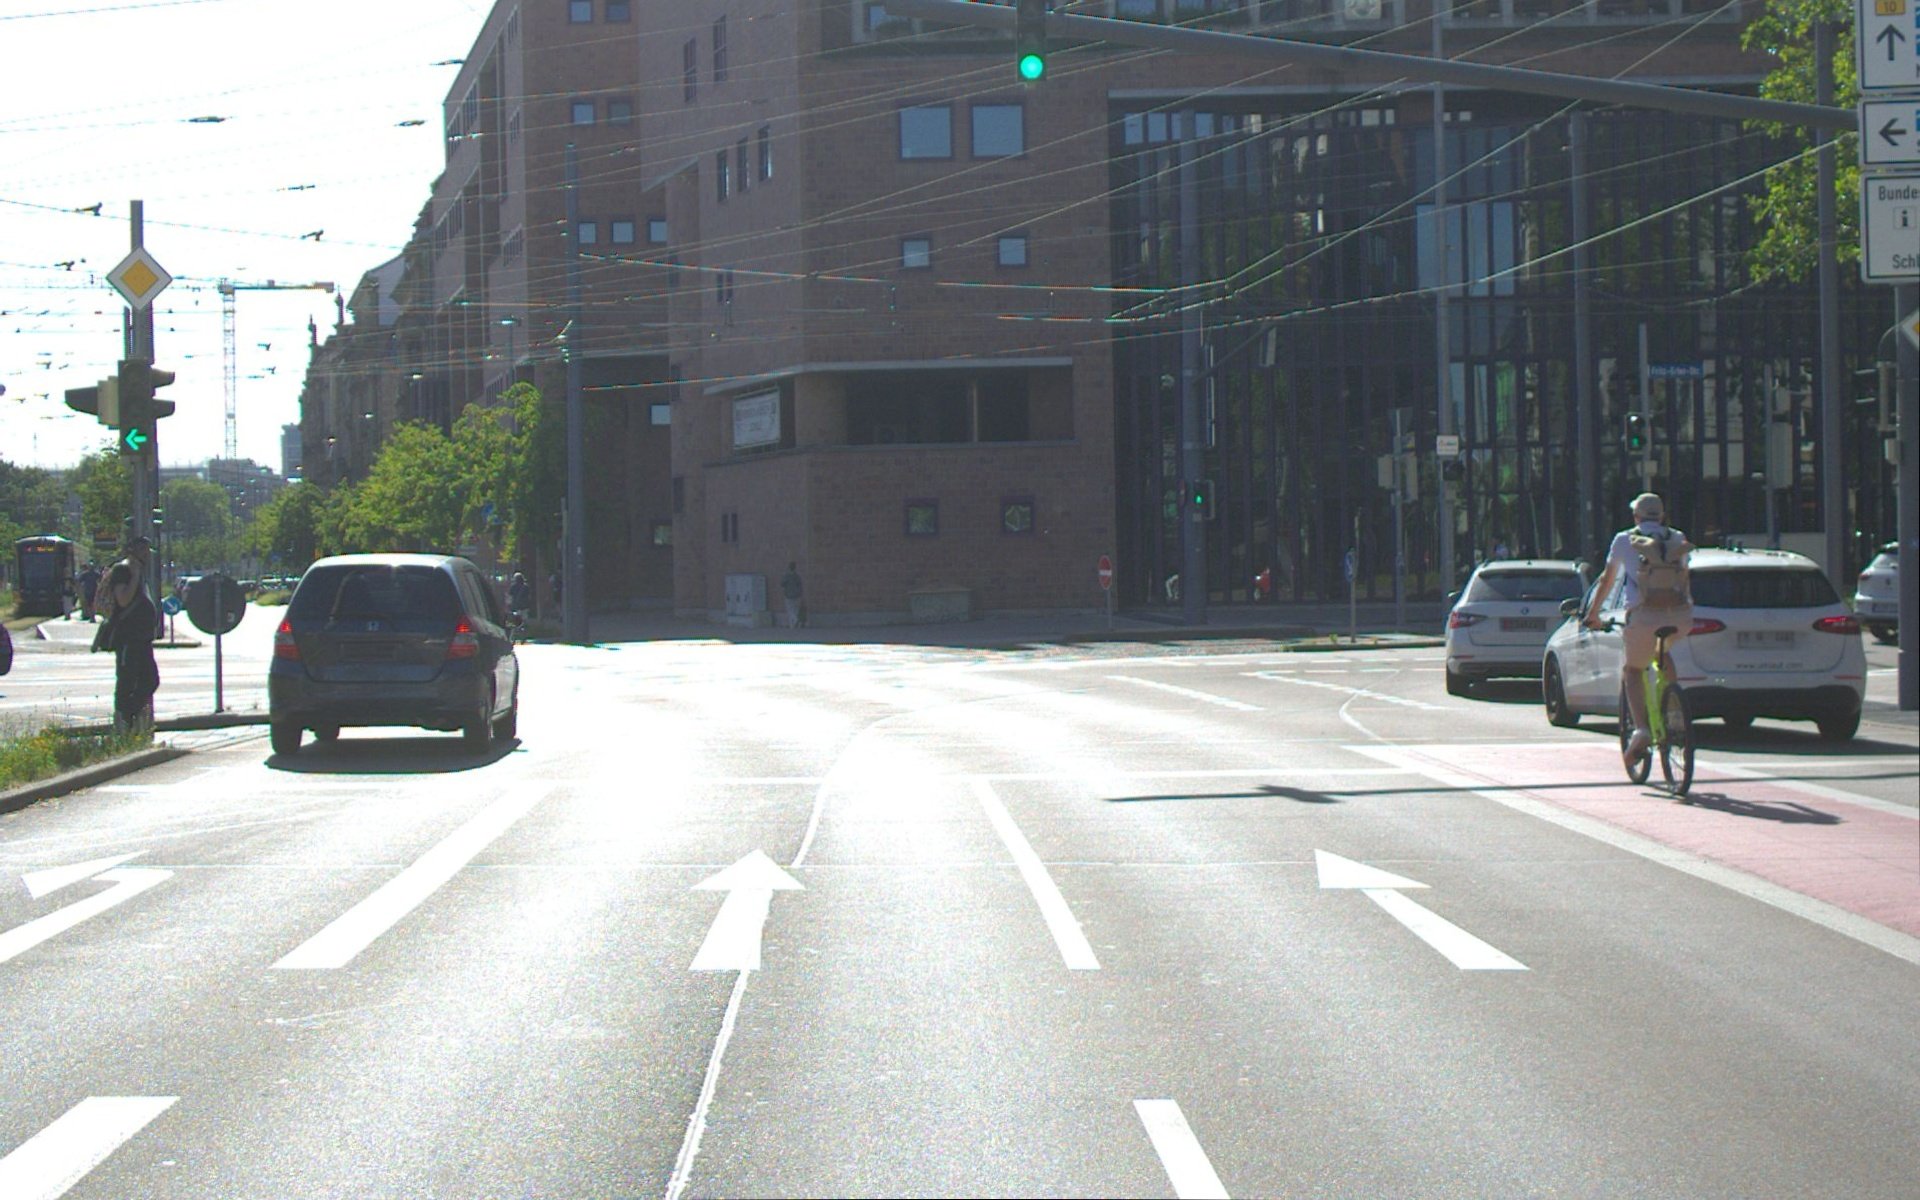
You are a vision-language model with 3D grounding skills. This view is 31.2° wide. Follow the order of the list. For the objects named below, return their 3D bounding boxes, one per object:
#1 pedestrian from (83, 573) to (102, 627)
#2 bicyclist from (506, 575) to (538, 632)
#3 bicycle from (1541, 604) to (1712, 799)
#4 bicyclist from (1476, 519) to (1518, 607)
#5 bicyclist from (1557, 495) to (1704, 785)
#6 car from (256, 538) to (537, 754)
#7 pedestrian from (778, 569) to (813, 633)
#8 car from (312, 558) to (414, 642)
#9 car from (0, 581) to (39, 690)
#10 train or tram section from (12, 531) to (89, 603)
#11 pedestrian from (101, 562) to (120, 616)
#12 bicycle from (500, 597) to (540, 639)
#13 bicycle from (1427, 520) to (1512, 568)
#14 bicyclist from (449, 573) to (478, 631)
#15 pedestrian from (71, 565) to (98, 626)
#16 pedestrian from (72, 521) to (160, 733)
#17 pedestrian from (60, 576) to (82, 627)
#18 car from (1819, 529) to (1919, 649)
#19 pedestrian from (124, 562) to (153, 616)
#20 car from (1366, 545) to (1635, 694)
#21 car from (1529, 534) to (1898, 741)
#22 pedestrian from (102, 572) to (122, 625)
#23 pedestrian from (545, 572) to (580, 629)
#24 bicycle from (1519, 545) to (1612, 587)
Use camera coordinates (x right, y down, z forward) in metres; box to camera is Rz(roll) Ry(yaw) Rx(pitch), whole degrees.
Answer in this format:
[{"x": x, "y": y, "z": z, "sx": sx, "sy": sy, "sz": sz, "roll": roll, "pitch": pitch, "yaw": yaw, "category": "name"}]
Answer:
[{"x": -26.789, "y": -0.015, "z": 106.195, "sx": 0.510, "sy": 1.649, "sz": 0.762, "roll": -1, "pitch": 0, "yaw": -16, "category": "pedestrian"}, {"x": -10.329, "y": 0.085, "z": 81.061, "sx": 0.592, "sy": 1.331, "sz": 0.933, "roll": -1, "pitch": 0, "yaw": -16, "category": "bicyclist"}, {"x": 4.161, "y": 0.612, "z": 21.567, "sx": 0.649, "sy": 1.106, "sz": 1.758, "roll": -1, "pitch": 2, "yaw": -2, "category": "bicycle"}, {"x": 11.560, "y": -0.792, "z": 73.970, "sx": 0.605, "sy": 1.877, "sz": 0.651, "roll": -1, "pitch": 0, "yaw": -23, "category": "bicyclist"}, {"x": 4.159, "y": 0.226, "z": 21.379, "sx": 0.649, "sy": 1.746, "sz": 1.045, "roll": -1, "pitch": 1, "yaw": -3, "category": "bicyclist"}, {"x": -4.383, "y": 0.318, "z": 27.199, "sx": 1.726, "sy": 1.558, "sz": 3.678, "roll": -1, "pitch": 1, "yaw": -2, "category": "car"}, {"x": -4.064, "y": 0.033, "z": 84.778, "sx": 0.617, "sy": 1.558, "sz": 0.987, "roll": -1, "pitch": 0, "yaw": -16, "category": "pedestrian"}, {"x": -14.345, "y": -0.010, "z": 82.489, "sx": 1.993, "sy": 1.941, "sz": 4.001, "roll": -1, "pitch": 0, "yaw": -16, "category": "car"}, {"x": -14.940, "y": 0.512, "z": 46.886, "sx": 4.512, "sy": 1.444, "sz": 1.730, "roll": -1, "pitch": 1, "yaw": 25, "category": "car"}, {"x": -40.021, "y": -1.470, "z": 151.557, "sx": 2.326, "sy": 2.993, "sz": 13.163, "roll": -1, "pitch": 1, "yaw": -11, "category": "train or tram section"}, {"x": -26.290, "y": -0.348, "z": 106.385, "sx": 0.538, "sy": 1.649, "sz": 0.707, "roll": -1, "pitch": 0, "yaw": -16, "category": "pedestrian"}, {"x": -10.440, "y": 0.423, "z": 81.460, "sx": 0.603, "sy": 0.982, "sz": 2.315, "roll": -1, "pitch": 0, "yaw": -16, "category": "bicycle"}, {"x": 10.951, "y": -1.197, "z": 73.860, "sx": 1.668, "sy": 0.991, "sz": 0.673, "roll": -2, "pitch": 0, "yaw": -22, "category": "bicycle"}, {"x": -13.085, "y": 0.046, "z": 90.571, "sx": 0.667, "sy": 1.521, "sz": 0.707, "roll": -1, "pitch": 0, "yaw": -16, "category": "bicyclist"}, {"x": -24.756, "y": -0.137, "z": 97.199, "sx": 0.614, "sy": 1.663, "sz": 0.864, "roll": -4, "pitch": 2, "yaw": -16, "category": "pedestrian"}, {"x": -7.088, "y": 0.218, "z": 28.871, "sx": 0.669, "sy": 1.747, "sz": 0.769, "roll": -1, "pitch": 1, "yaw": -14, "category": "pedestrian"}, {"x": -27.483, "y": 0.042, "z": 106.297, "sx": 0.600, "sy": 1.561, "sz": 0.914, "roll": -1, "pitch": 0, "yaw": -16, "category": "pedestrian"}, {"x": 14.250, "y": -0.154, "z": 47.829, "sx": 3.986, "sy": 1.578, "sz": 1.913, "roll": 1, "pitch": 2, "yaw": -14, "category": "car"}, {"x": -26.672, "y": -0.364, "z": 111.639, "sx": 0.716, "sy": 1.729, "sz": 0.602, "roll": -1, "pitch": 0, "yaw": -32, "category": "pedestrian"}, {"x": 5.951, "y": 0.175, "z": 38.345, "sx": 1.906, "sy": 1.536, "sz": 4.139, "roll": 1, "pitch": 1, "yaw": -7, "category": "car"}, {"x": 6.172, "y": 0.251, "z": 28.656, "sx": 1.906, "sy": 1.578, "sz": 4.139, "roll": 1, "pitch": 1, "yaw": -4, "category": "car"}, {"x": -26.310, "y": -0.045, "z": 106.631, "sx": 0.538, "sy": 1.649, "sz": 0.896, "roll": -1, "pitch": 0, "yaw": -16, "category": "pedestrian"}, {"x": -12.150, "y": 0.006, "z": 104.997, "sx": 0.879, "sy": 1.711, "sz": 0.931, "roll": -1, "pitch": 0, "yaw": -16, "category": "pedestrian"}, {"x": 12.086, "y": -0.683, "z": 68.622, "sx": 1.668, "sy": 0.803, "sz": 0.673, "roll": -1, "pitch": 0, "yaw": -12, "category": "bicycle"}]
